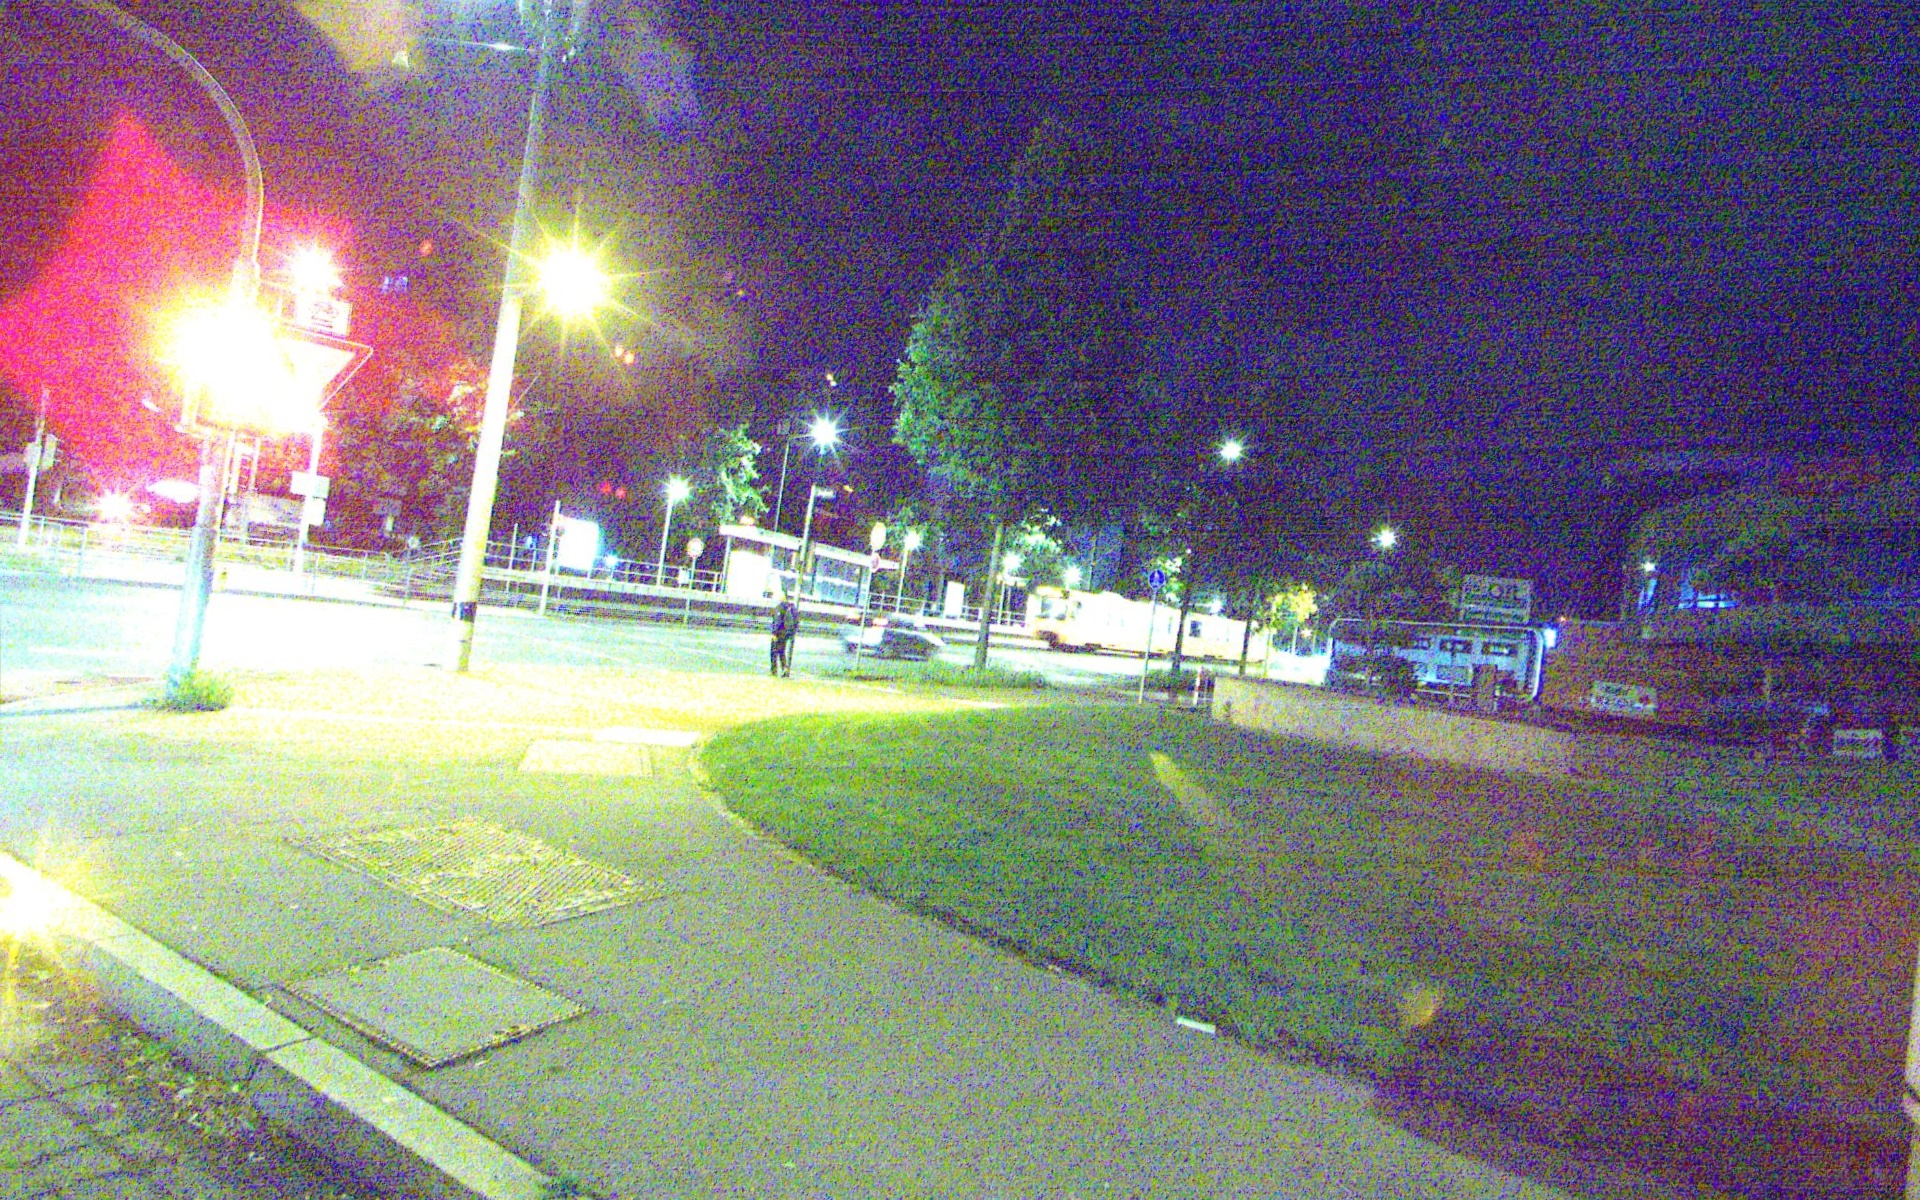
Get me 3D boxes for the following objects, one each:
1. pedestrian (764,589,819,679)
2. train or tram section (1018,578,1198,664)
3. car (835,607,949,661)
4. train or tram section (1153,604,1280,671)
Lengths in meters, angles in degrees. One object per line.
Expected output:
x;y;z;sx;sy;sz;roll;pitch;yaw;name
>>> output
-3.243;0.647;19.352;0.867;1.677;0.835;2;1;-18;pedestrian
10.026;1.618;64.102;2.918;3.896;18.427;8;0;35;train or tram section
-2.170;1.134;32.746;1.617;1.438;3.687;7;0;35;car
20.716;3.215;79.496;2.919;3.894;18.866;5;-2;35;train or tram section
